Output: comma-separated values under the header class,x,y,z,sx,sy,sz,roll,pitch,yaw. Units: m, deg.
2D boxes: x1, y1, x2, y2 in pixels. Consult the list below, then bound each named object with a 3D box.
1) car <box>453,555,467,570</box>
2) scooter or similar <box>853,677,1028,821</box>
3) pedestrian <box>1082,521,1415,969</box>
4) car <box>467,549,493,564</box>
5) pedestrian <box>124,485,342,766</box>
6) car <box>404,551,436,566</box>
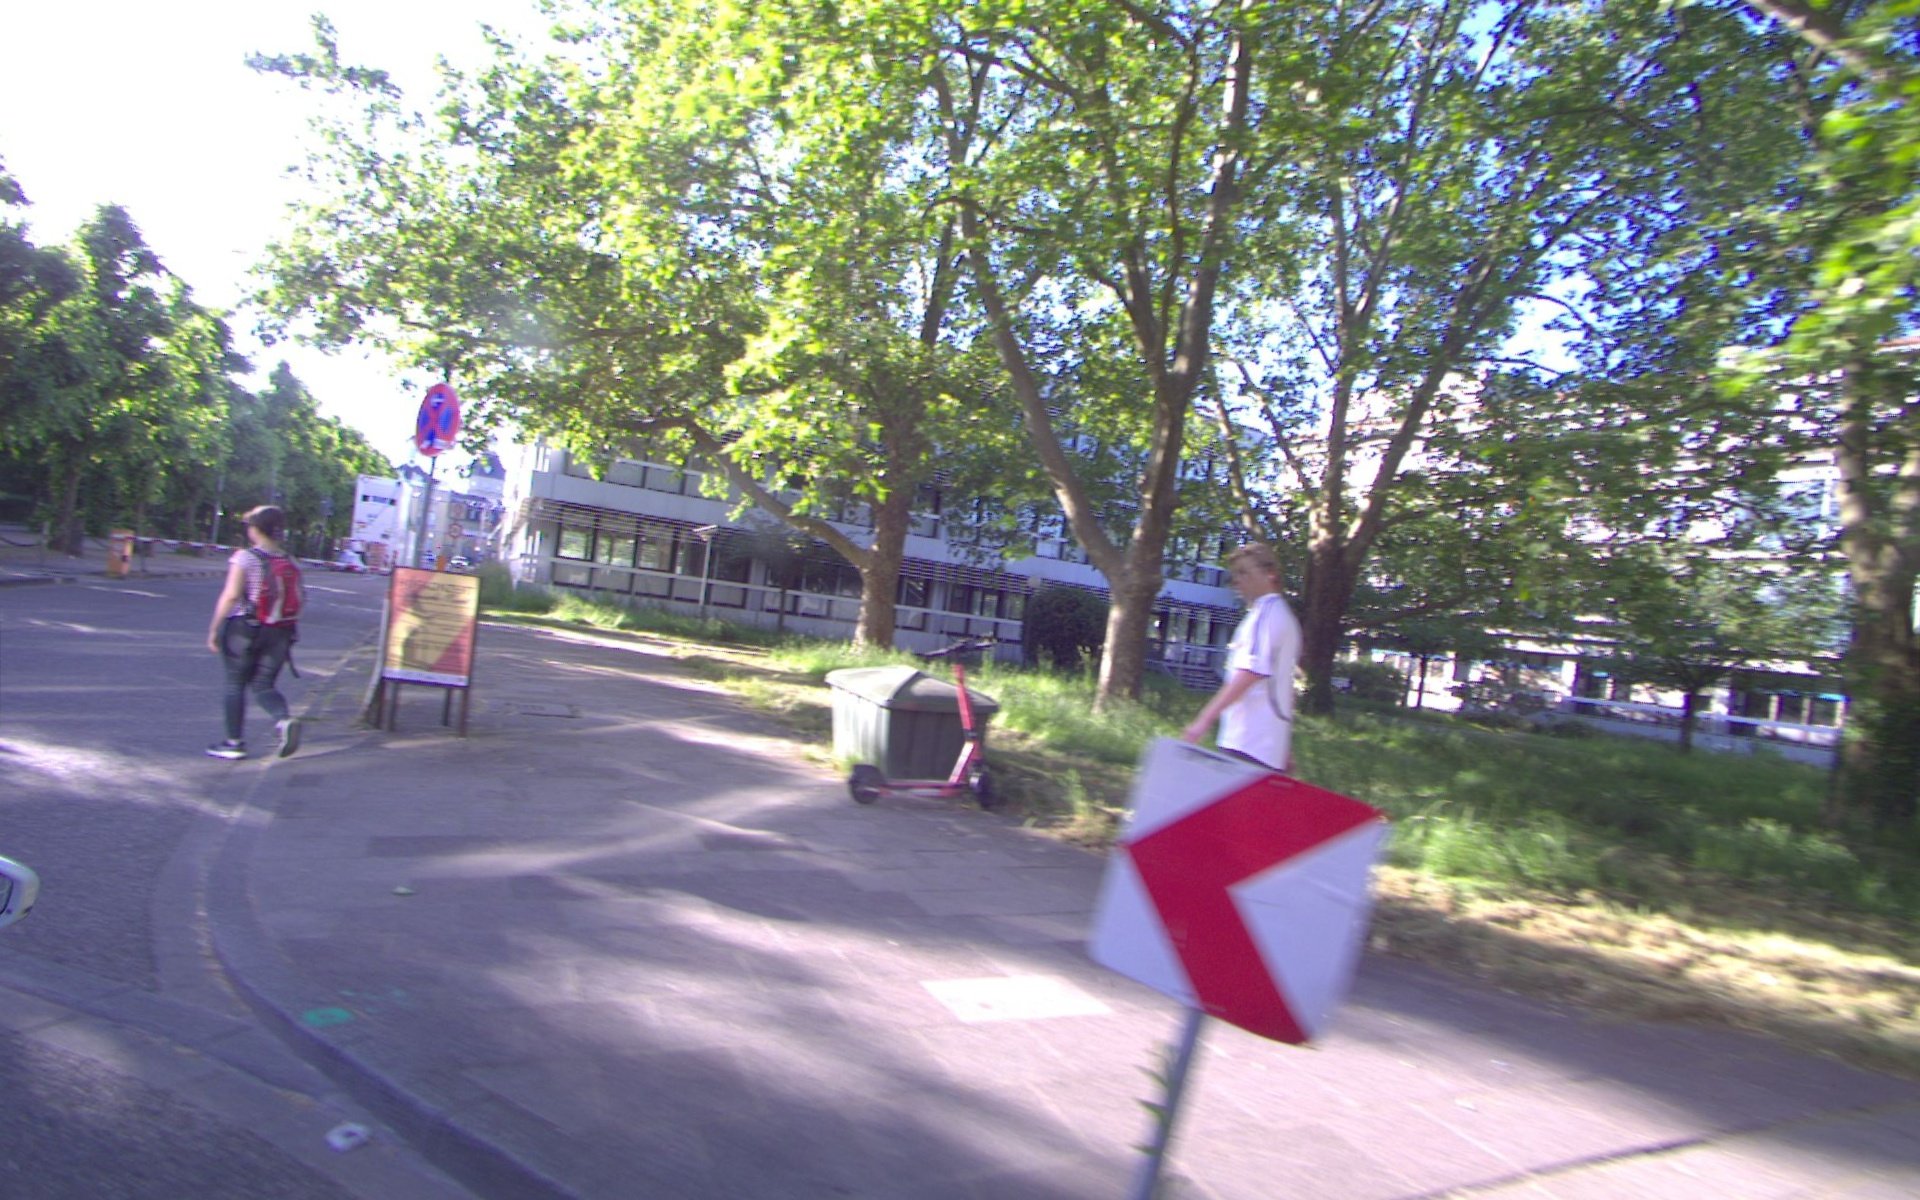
class,x,y,z,sx,sy,sz,roll,pitch,yaw
car,-60.395,-4.529,121.538,1.441,1.517,3.975,7,-1,-26
scooter or similar,-0.129,1.061,7.195,1.139,0.925,0.416,6,-1,-34
pedestrian,1.374,0.616,4.834,1.117,1.834,0.744,7,-1,41
car,-88.053,-7.975,184.721,3.948,2.037,1.990,9,-1,-22
pedestrian,-4.672,0.151,6.472,0.924,1.642,0.709,6,-1,33
car,-90.748,-6.905,169.214,4.520,1.811,1.987,9,-1,-27
